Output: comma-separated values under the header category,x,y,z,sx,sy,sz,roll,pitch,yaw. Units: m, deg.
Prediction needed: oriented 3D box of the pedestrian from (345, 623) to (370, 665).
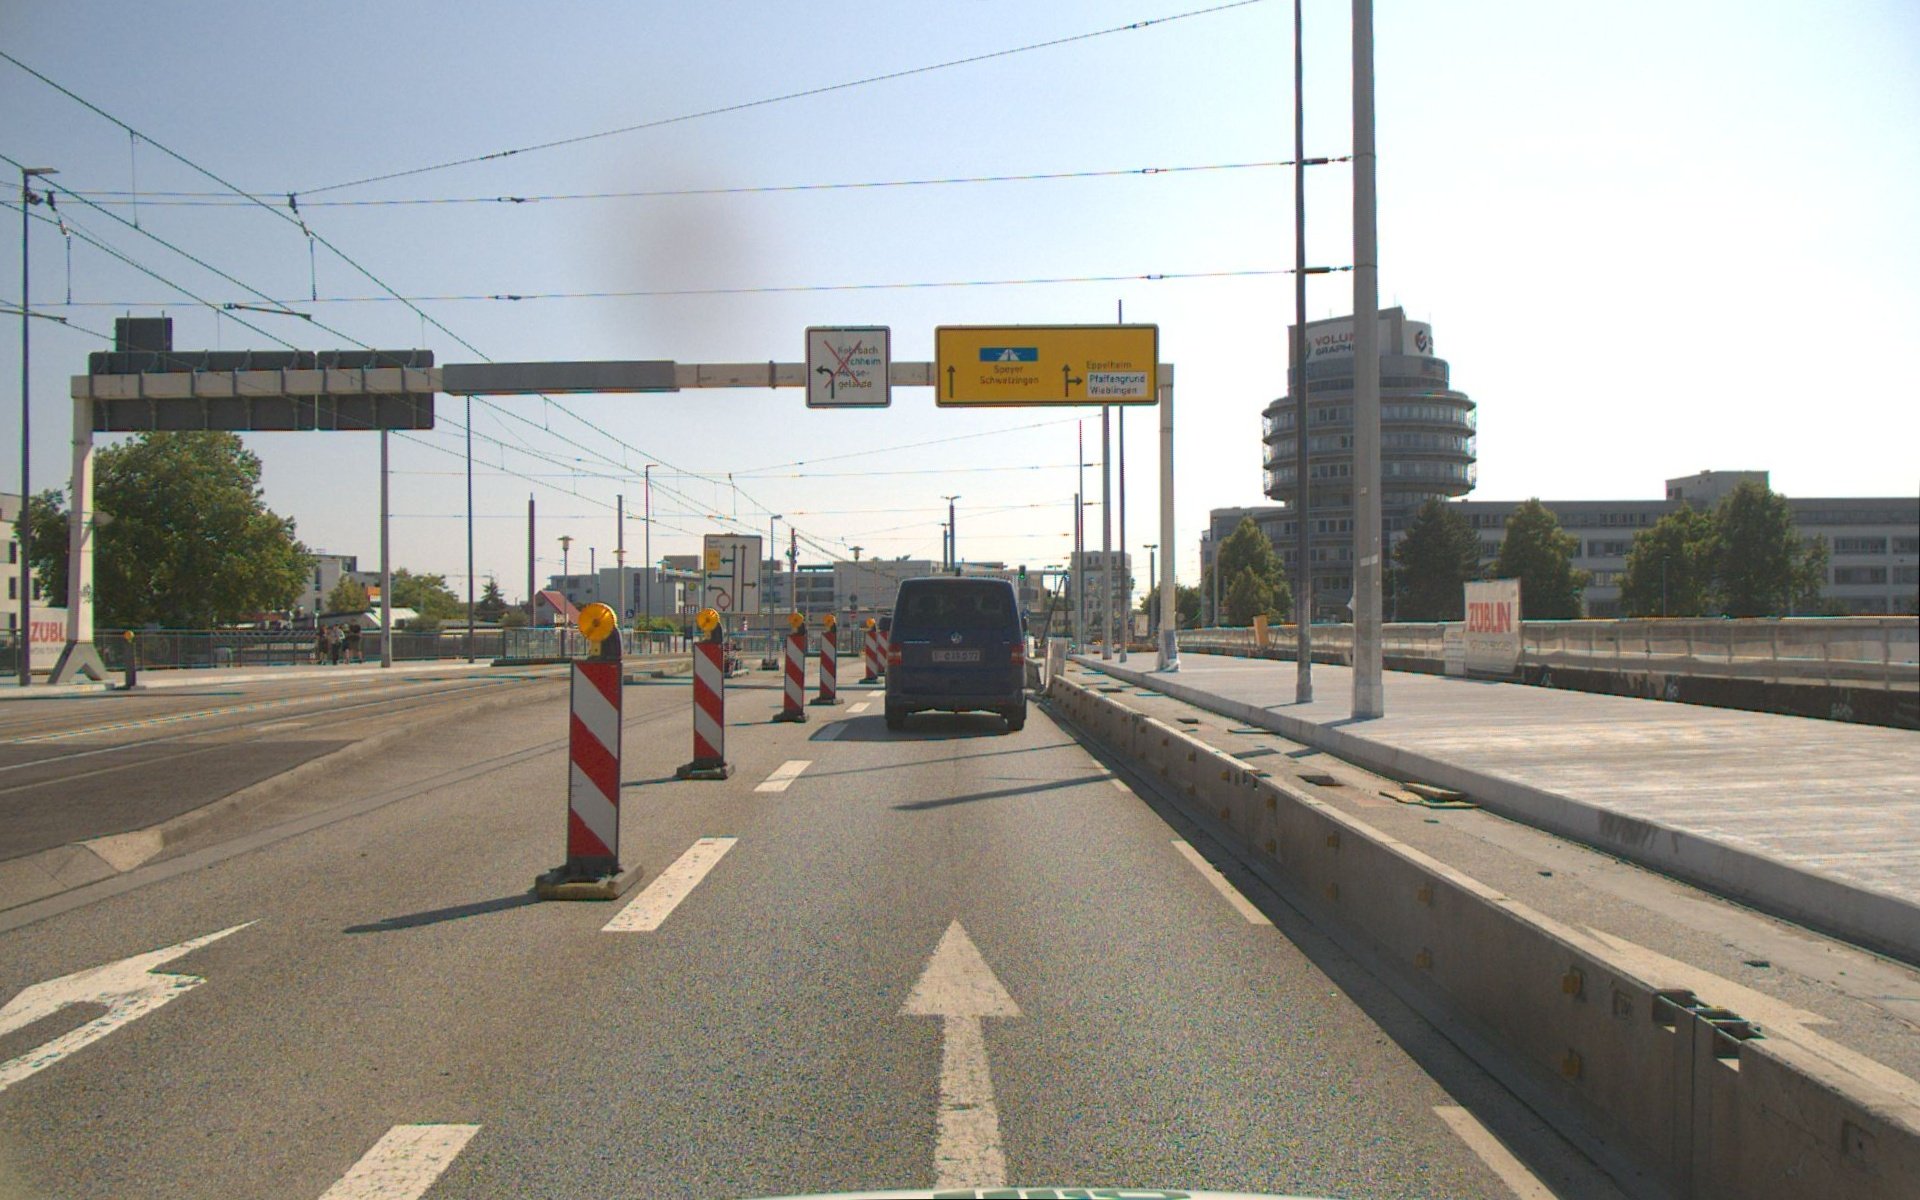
category,x,y,z,sx,sy,sz,roll,pitch,yaw
pedestrian,-24.967,1.805,68.502,0.737,1.717,0.732,-1,-1,2

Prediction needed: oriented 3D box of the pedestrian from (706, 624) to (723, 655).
category,x,y,z,sx,sy,sz,roll,pitch,yaw
pedestrian,-13.089,2.107,88.245,0.646,1.683,0.740,-1,-1,13

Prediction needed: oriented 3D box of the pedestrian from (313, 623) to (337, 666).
category,x,y,z,sx,sy,sz,roll,pitch,yaw
pedestrian,-25.582,1.796,66.639,0.585,1.717,0.818,-1,-1,2

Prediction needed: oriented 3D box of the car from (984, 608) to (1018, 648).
category,x,y,z,sx,sy,sz,roll,pitch,yaw
car,3.083,2.066,123.961,2.290,2.938,5.972,1,-1,3

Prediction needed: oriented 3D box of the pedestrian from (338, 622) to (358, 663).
category,x,y,z,sx,sy,sz,roll,pitch,yaw
pedestrian,-25.705,1.782,69.487,0.493,1.717,0.773,-1,-1,2

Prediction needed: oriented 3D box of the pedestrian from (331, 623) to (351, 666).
category,x,y,z,sx,sy,sz,roll,pitch,yaw
pedestrian,-24.983,1.796,66.730,0.476,1.717,0.808,-1,-1,2

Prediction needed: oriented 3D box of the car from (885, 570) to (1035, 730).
category,x,y,z,sx,sy,sz,roll,pitch,yaw
car,-0.039,0.651,22.706,1.849,1.968,3.999,1,-1,-1
